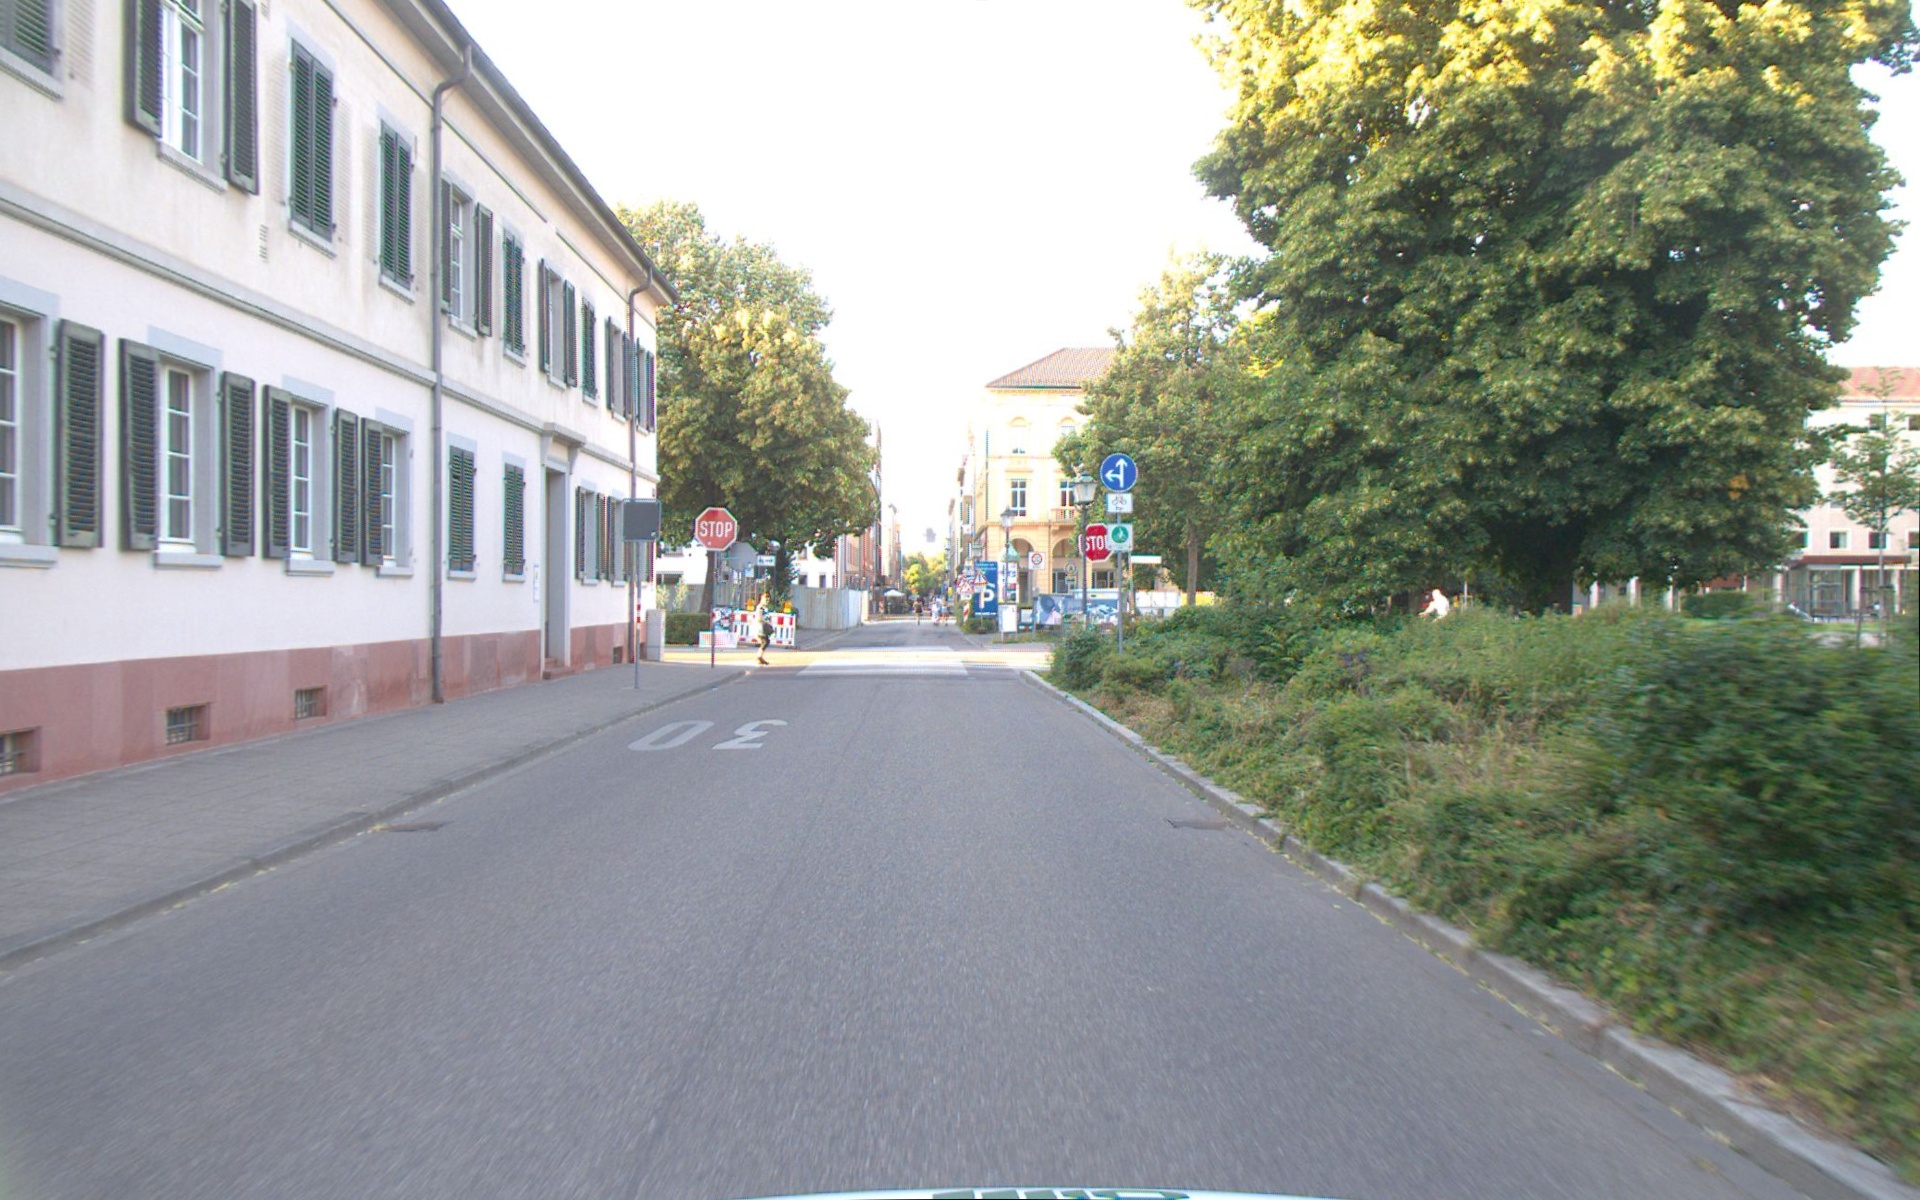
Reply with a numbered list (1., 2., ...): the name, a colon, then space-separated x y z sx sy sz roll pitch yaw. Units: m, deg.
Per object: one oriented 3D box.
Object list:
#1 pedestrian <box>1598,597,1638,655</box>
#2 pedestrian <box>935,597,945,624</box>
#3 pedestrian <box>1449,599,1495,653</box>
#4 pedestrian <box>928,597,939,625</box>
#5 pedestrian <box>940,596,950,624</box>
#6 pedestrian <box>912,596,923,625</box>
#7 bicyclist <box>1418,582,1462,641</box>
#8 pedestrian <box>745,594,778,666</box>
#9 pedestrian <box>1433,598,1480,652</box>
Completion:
1. pedestrian: 15.821 0.620 39.777 0.585 1.365 0.817 0 0 -7
2. pedestrian: -1.248 0.678 102.814 0.644 1.664 0.745 -1 0 -1
3. pedestrian: 12.279 0.621 39.683 0.591 1.283 0.864 0 0 -32
4. pedestrian: -1.626 0.673 101.239 0.644 1.645 0.745 -1 0 -1
5. pedestrian: -0.922 0.610 101.234 0.644 1.645 0.745 -1 0 -1
6. pedestrian: -2.618 0.669 102.845 0.644 1.790 0.745 -1 0 -1
7. bicyclist: 13.812 0.329 47.604 1.041 1.661 0.595 0 0 -11
8. pedestrian: -4.869 0.728 40.532 0.719 1.719 0.836 -1 0 -2
9. pedestrian: 11.784 0.599 39.253 0.674 1.259 0.810 0 0 -31
